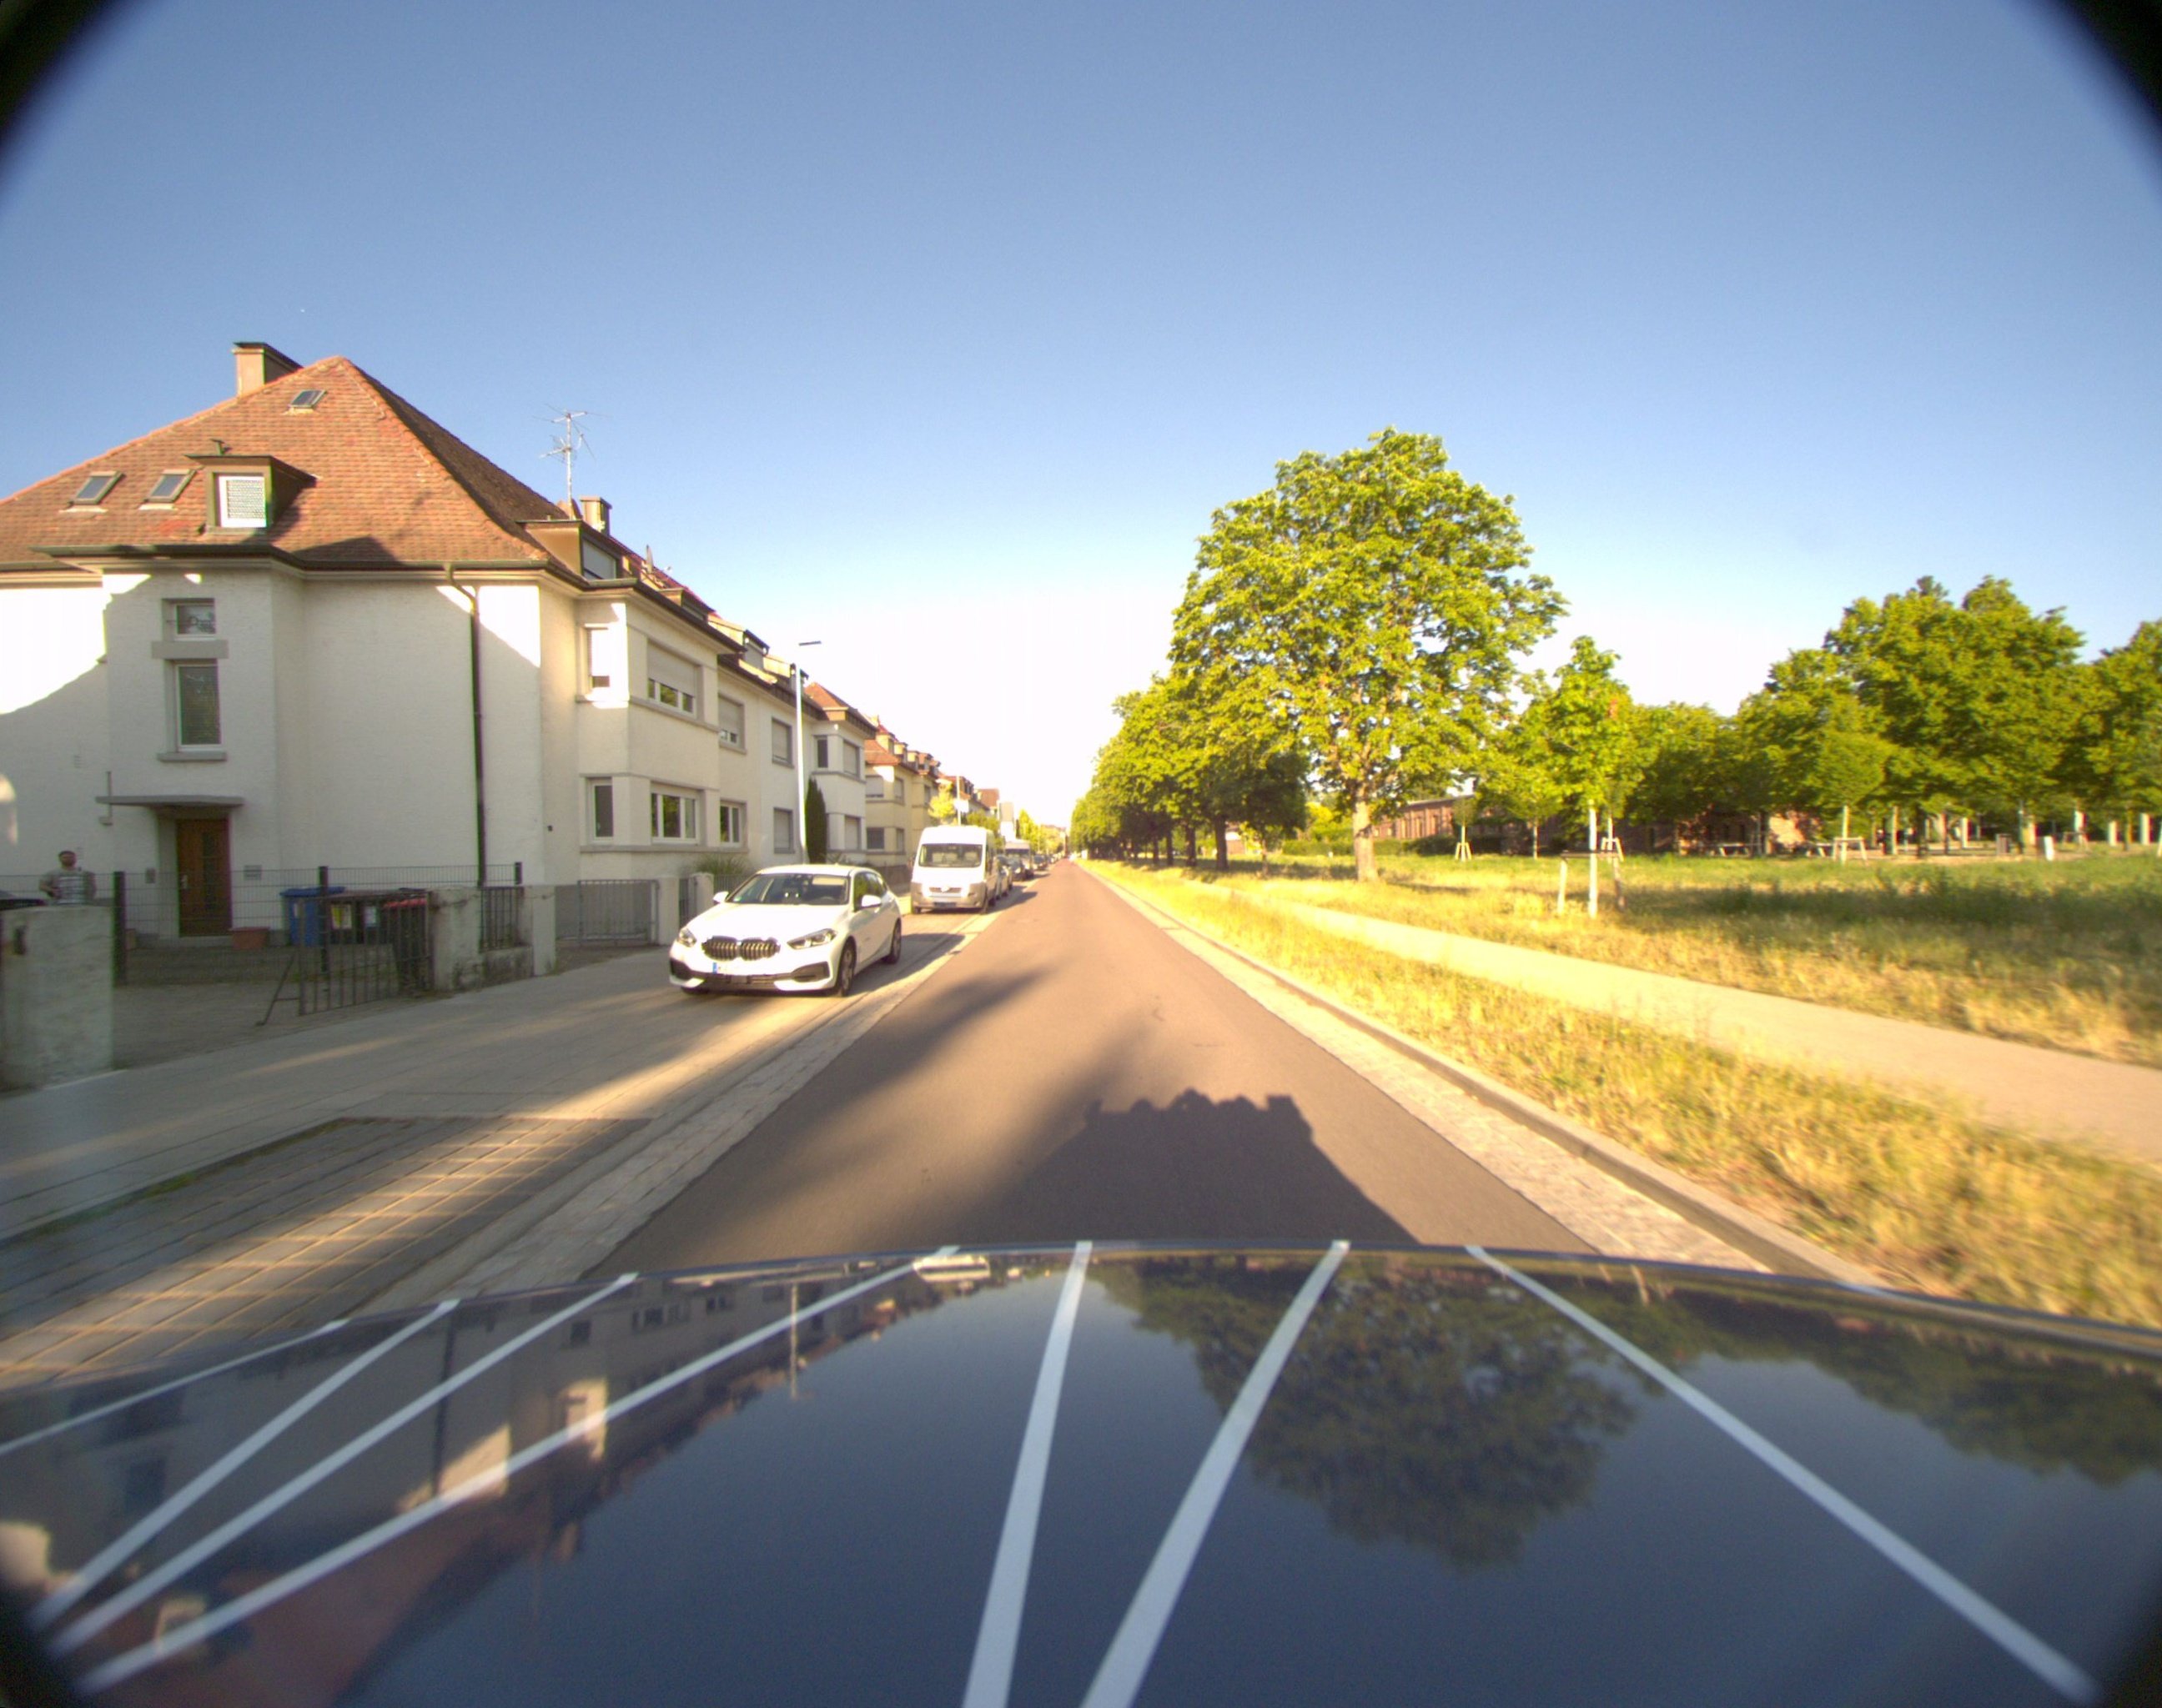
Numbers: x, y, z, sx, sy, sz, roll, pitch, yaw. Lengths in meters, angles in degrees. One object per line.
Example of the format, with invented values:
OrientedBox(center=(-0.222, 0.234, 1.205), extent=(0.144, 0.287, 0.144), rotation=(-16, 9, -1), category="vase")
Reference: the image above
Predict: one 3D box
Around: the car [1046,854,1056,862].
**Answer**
OrientedBox(center=(-6.109, 0.828, 155.865), extent=(1.974, 1.630, 3.999), rotation=(-2, 0, -1), category="car")

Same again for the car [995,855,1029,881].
OrientedBox(center=(-4.209, 0.852, 46.732), extent=(1.629, 1.431, 4.004), rotation=(-2, 1, 0), category="car")

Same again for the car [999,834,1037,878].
OrientedBox(center=(-4.286, 0.123, 52.946), extent=(2.135, 2.837, 5.986), rotation=(-2, 0, -1), category="car")

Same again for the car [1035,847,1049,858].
OrientedBox(center=(-6.050, -0.192, 119.697), extent=(1.974, 1.630, 4.000), rotation=(-2, 0, 0), category="car")

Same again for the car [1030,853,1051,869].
OrientedBox(center=(-4.238, 0.722, 79.555), extent=(1.974, 1.630, 3.999), rotation=(1, 0, -1), category="car")

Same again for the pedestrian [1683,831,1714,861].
OrientedBox(center=(39.089, -0.515, 48.116), extent=(1.115, 1.852, 0.984), rotation=(-2, 1, 6), category="pedestrian")

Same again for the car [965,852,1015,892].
OrientedBox(center=(-3.949, 0.742, 33.708), extent=(1.782, 1.635, 4.479), rotation=(0, 0, -1), category="car")

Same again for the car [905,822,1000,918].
OrientedBox(center=(-3.648, 0.414, 22.572), extent=(2.135, 2.503, 5.507), rotation=(0, 0, -3), category="car")

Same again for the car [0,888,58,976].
OrientedBox(center=(-18.139, 1.210, 11.282), extent=(3.830, 1.283, 1.666), rotation=(-1, 1, 4), category="car")

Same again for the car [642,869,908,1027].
OrientedBox(center=(-3.524, 0.979, 9.691), extent=(1.787, 1.498, 4.233), rotation=(1, 0, -2), category="car")

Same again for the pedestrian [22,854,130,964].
OrientedBox(center=(-17.000, 0.908, 12.873), extent=(0.696, 1.750, 0.714), rotation=(-4, 1, -2), category="pedestrian")

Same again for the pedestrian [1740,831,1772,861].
OrientedBox(center=(42.715, -0.507, 48.065), extent=(1.115, 1.852, 0.984), rotation=(-2, 1, 6), category="pedestrian")

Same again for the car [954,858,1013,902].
OrientedBox(center=(-3.571, 0.907, 28.457), extent=(1.626, 1.474, 4.107), rotation=(-2, 0, 0), category="car")

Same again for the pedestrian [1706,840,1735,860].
OrientedBox(center=(42.787, -0.263, 50.820), extent=(1.116, 1.287, 0.982), rotation=(-2, 0, -10), category="pedestrian")
